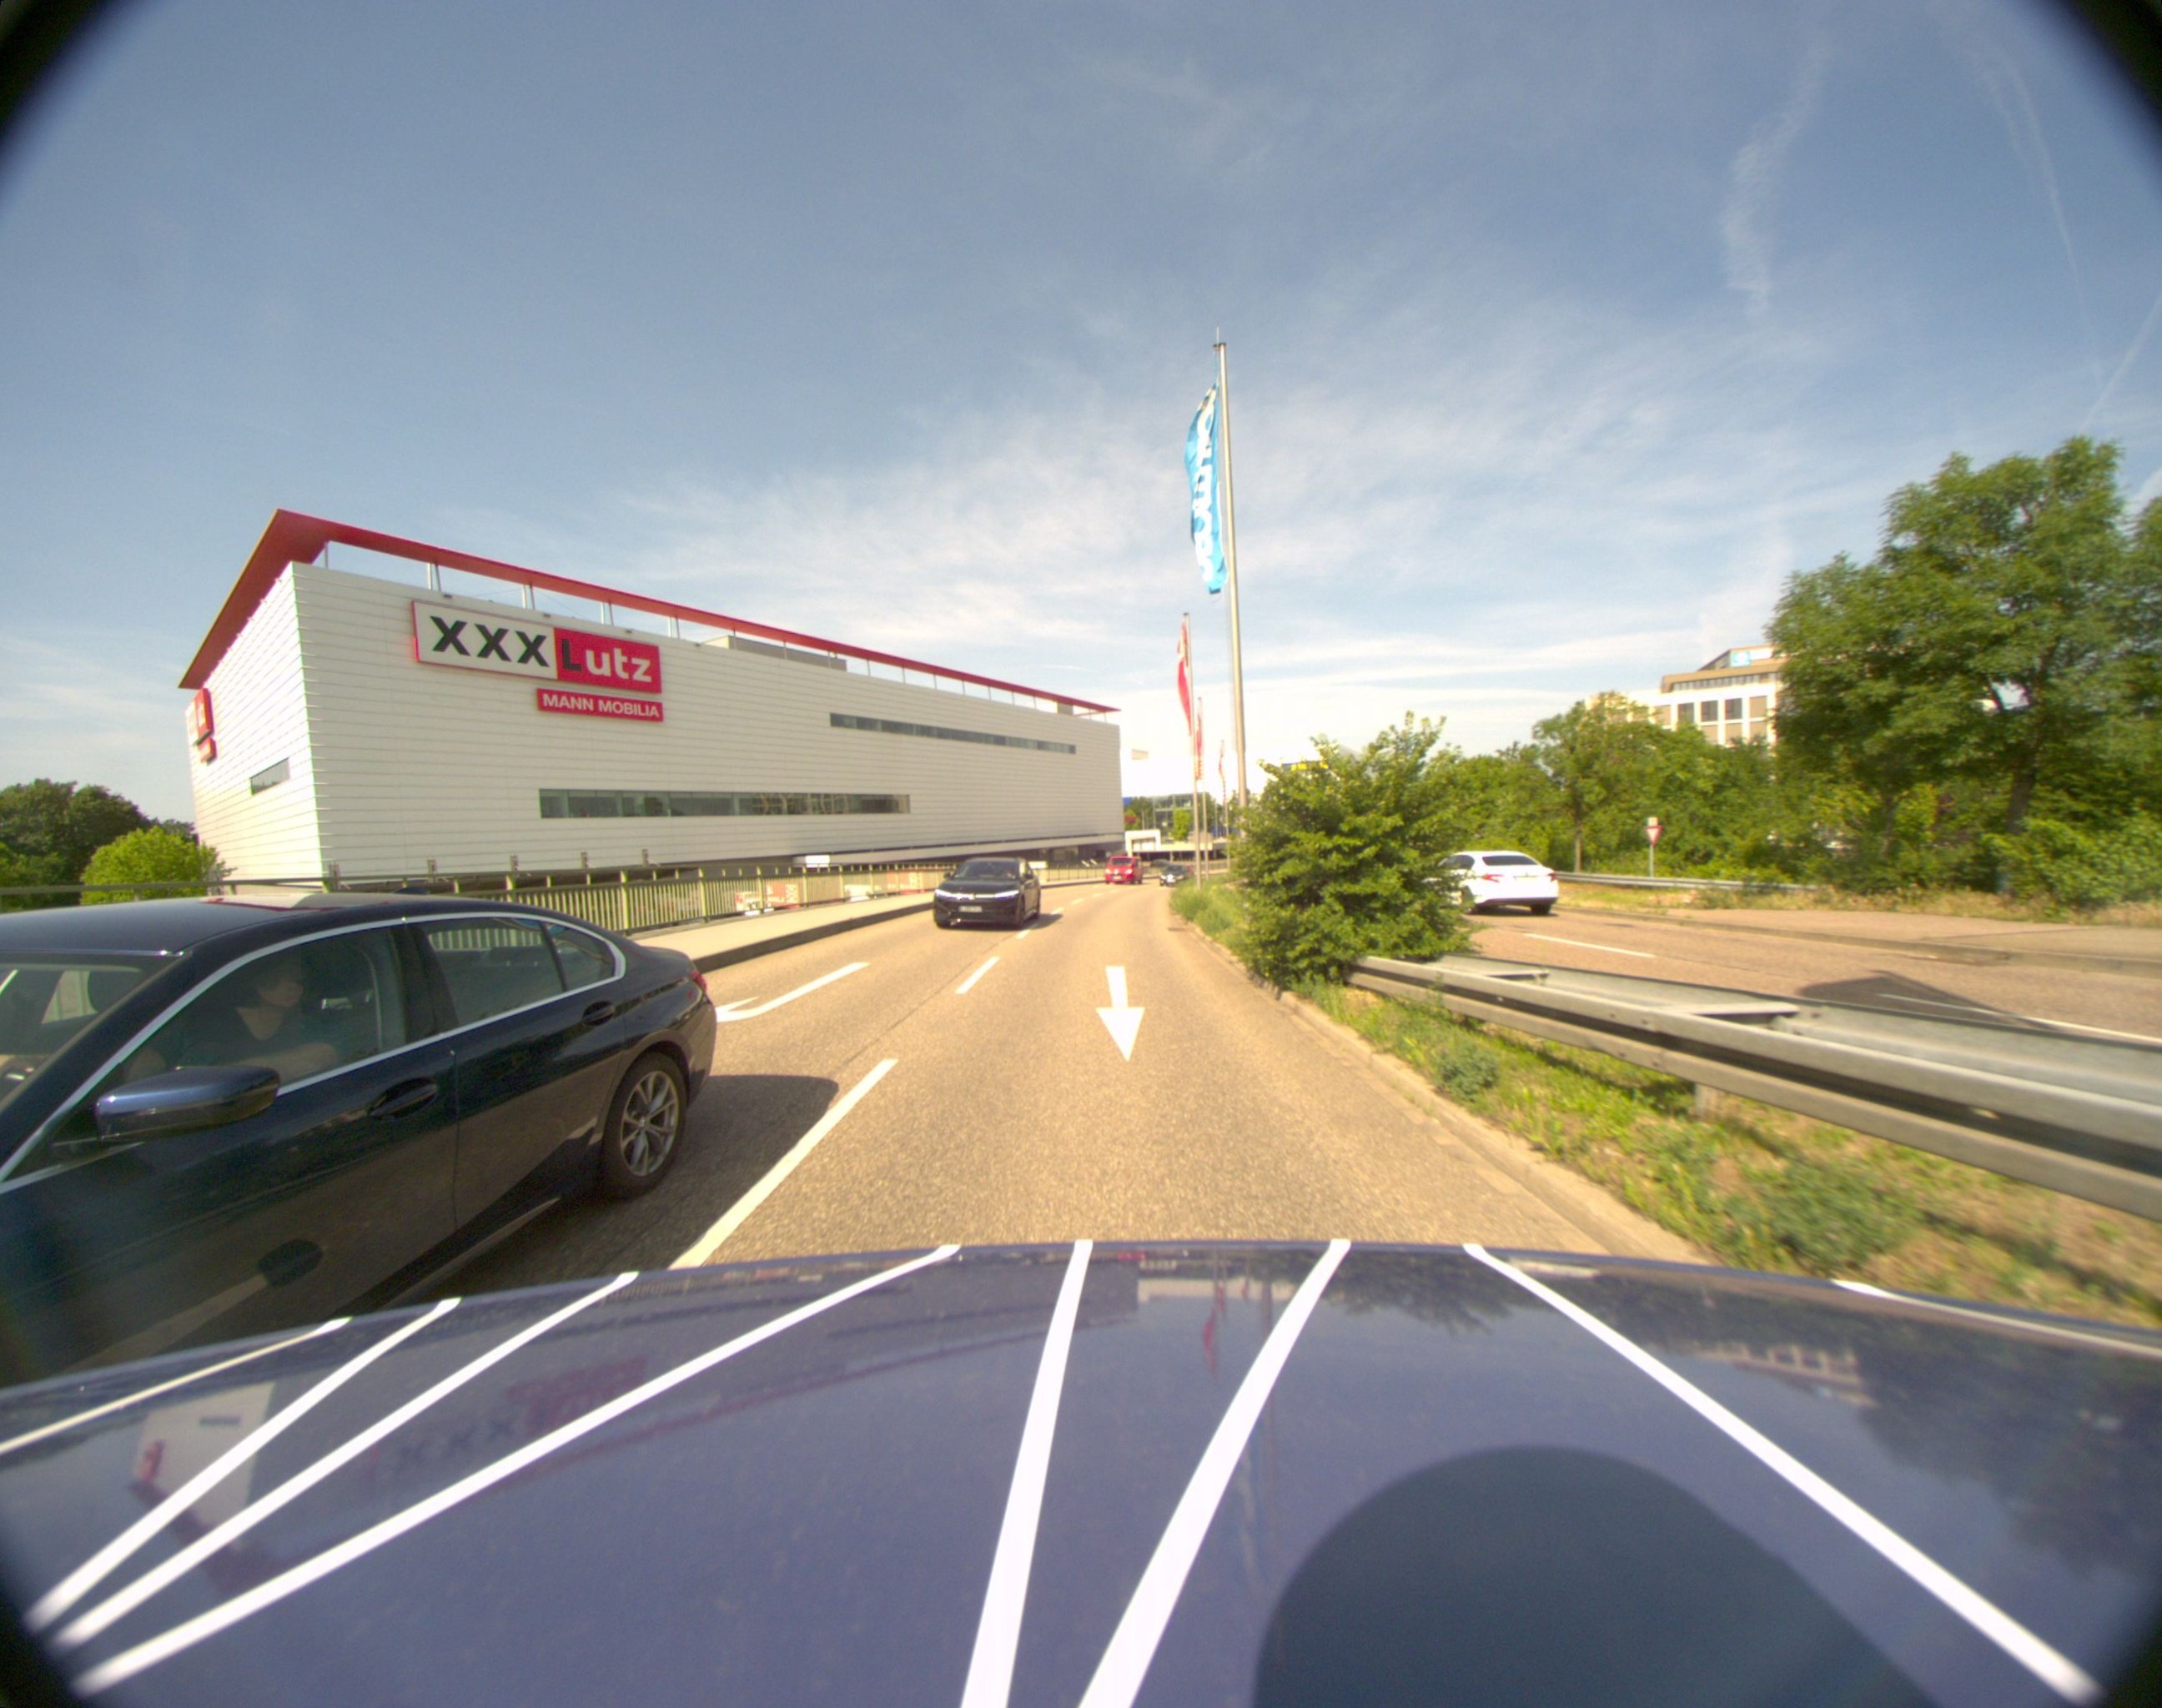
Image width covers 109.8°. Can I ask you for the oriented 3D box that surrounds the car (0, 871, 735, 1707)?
[{"bbox_3d":[-2.924,0.979,2.014,1.792,1.475,4.518,-3,3,1],"label":"car"}]

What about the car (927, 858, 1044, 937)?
[{"bbox_3d":[-2.048,0.886,17.461,1.860,1.520,4.145,1,0,4],"label":"car"}]

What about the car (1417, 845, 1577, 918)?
[{"bbox_3d":[9.861,0.578,18.407,1.801,1.542,4.000,0,1,2],"label":"car"}]

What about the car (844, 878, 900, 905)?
[{"bbox_3d":[-22.611,4.028,82.141,5.996,2.606,2.135,-2,3,30],"label":"car"}]

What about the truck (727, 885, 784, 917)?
[{"bbox_3d":[-32.695,4.679,76.329,5.995,2.911,2.135,-2,3,33],"label":"truck"}]

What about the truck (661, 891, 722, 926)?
[{"bbox_3d":[-36.122,4.978,70.436,5.995,2.911,2.135,-2,3,33],"label":"truck"}]

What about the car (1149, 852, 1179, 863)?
[{"bbox_3d":[13.559,0.578,124.427,4.405,1.723,1.865,-1,3,40],"label":"car"}]

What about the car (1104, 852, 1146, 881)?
[{"bbox_3d":[3.114,0.850,52.910,1.986,1.895,4.149,-1,-1,16],"label":"car"}]

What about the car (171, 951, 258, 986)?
[{"bbox_3d":[-61.417,8.089,53.926,1.802,1.629,3.831,0,4,37],"label":"car"}]

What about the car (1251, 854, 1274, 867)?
[{"bbox_3d":[24.181,0.892,101.175,1.822,1.466,4.006,0,3,31],"label":"car"}]

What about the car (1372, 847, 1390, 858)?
[{"bbox_3d":[48.909,-0.298,124.076,1.860,1.521,4.144,-1,3,9],"label":"car"}]

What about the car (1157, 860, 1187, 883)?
[{"bbox_3d":[5.980,1.132,50.208,1.848,1.409,4.003,1,-1,6],"label":"car"}]

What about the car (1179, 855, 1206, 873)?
[{"bbox_3d":[10.898,0.967,73.889,1.774,1.648,4.151,-1,-1,21],"label":"car"}]
